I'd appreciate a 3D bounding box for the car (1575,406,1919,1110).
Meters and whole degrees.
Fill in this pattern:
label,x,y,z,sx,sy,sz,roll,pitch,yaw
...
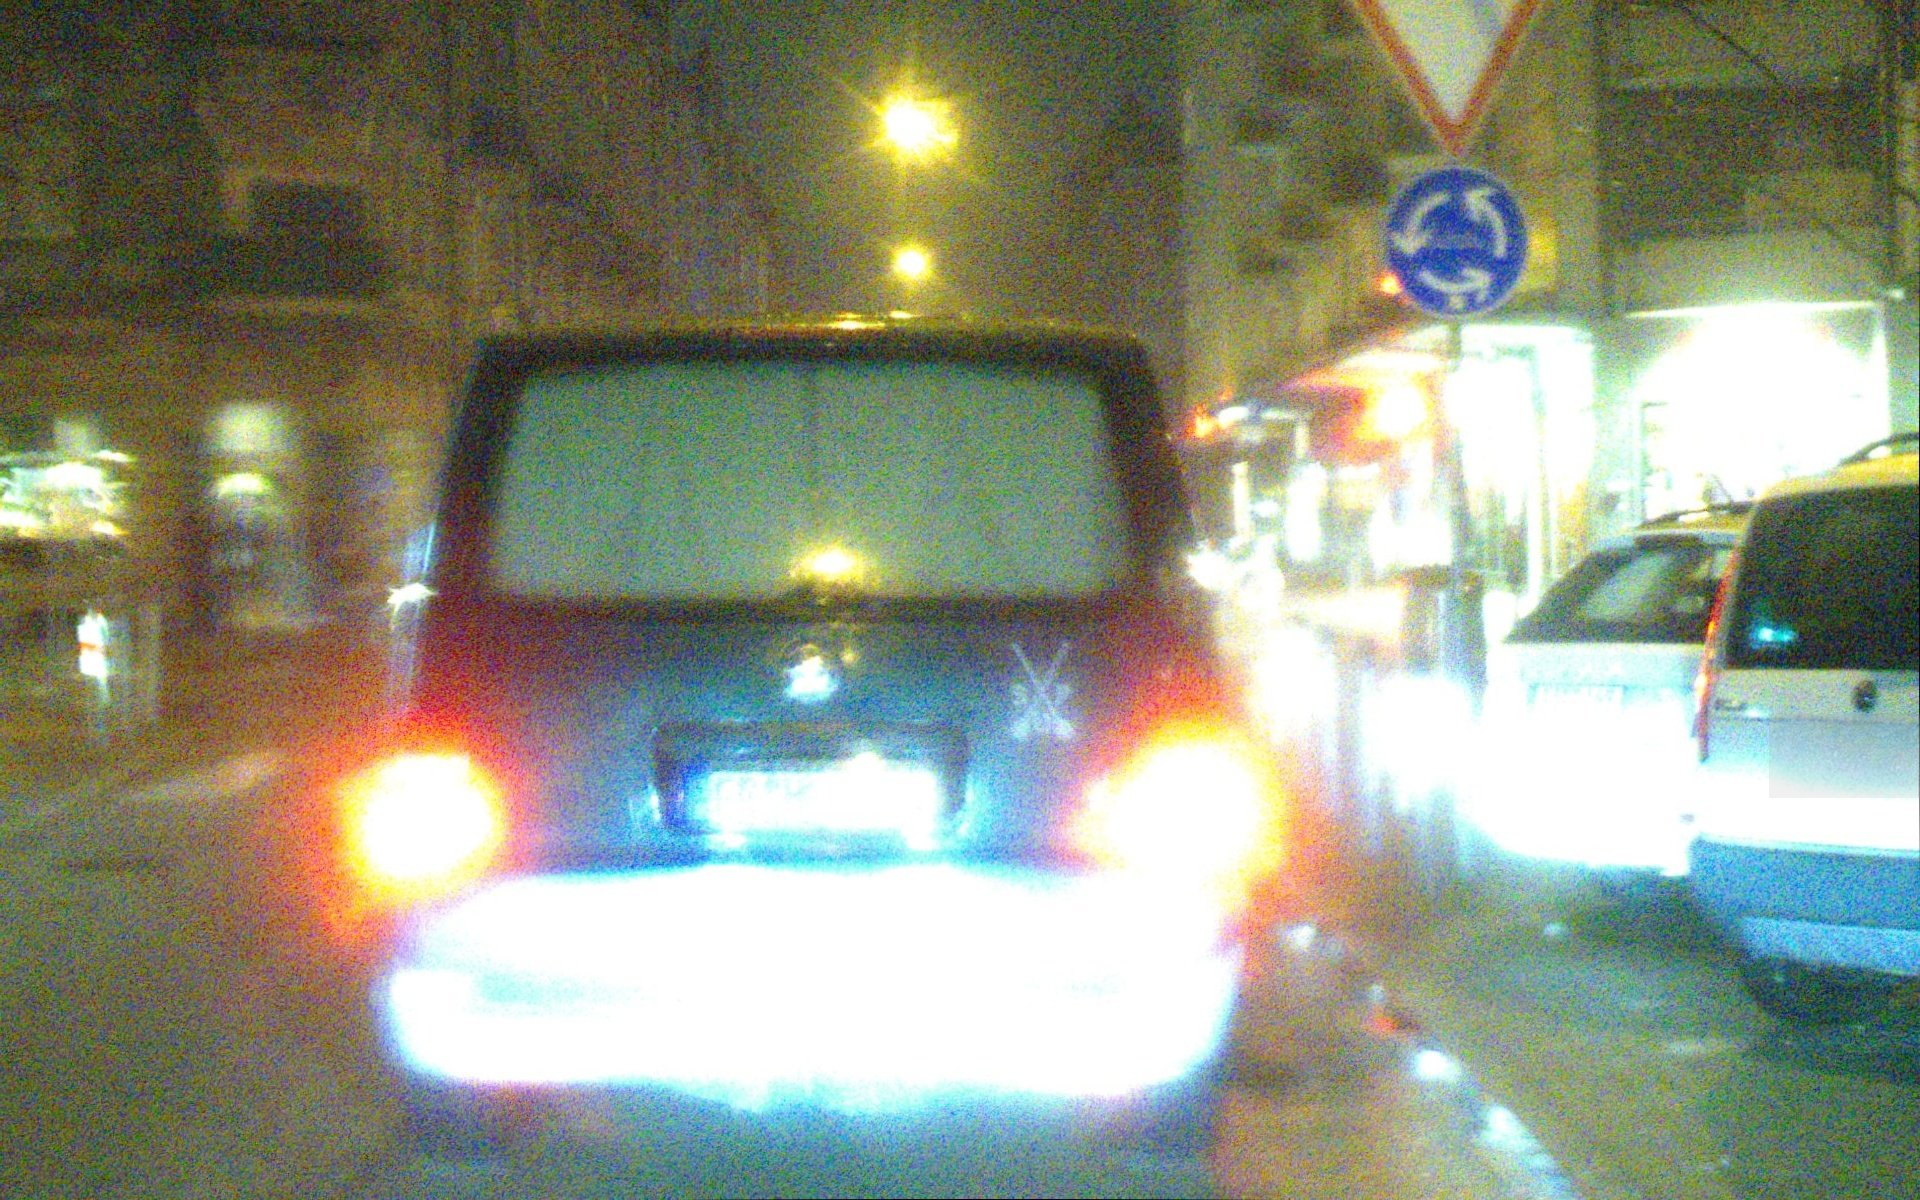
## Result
label,x,y,z,sx,sy,sz,roll,pitch,yaw
car,3.717,0.278,9.541,3.729,1.706,1.771,-4,2,-35

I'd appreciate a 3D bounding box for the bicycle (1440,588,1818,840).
label,x,y,z,sx,sy,sz,roll,pitch,yaw
bicycle,2.859,0.468,14.815,1.645,1.023,0.335,0,3,43

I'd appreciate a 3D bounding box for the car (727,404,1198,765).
label,x,y,z,sx,sy,sz,roll,pitch,yaw
car,0.168,-0.151,20.797,2.123,1.915,4.824,0,2,9

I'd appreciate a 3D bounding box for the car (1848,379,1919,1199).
label,x,y,z,sx,sy,sz,roll,pitch,yaw
car,3.818,0.316,7.076,3.782,1.706,1.748,-4,2,-35

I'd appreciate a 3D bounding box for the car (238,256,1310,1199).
label,x,y,z,sx,sy,sz,roll,pitch,yaw
car,-0.381,0.263,9.184,2.122,1.984,4.601,-1,1,0

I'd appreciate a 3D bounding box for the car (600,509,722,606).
label,x,y,z,sx,sy,sz,roll,pitch,yaw
car,-4.816,-0.722,55.754,1.586,1.458,4.024,2,2,0

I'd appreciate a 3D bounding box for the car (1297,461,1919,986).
label,x,y,z,sx,sy,sz,roll,pitch,yaw
car,3.516,0.286,12.422,4.249,1.568,1.772,-4,2,-29

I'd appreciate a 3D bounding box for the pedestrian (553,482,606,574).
label,x,y,z,sx,sy,sz,roll,pitch,yaw
pedestrian,-7.334,-1.381,66.314,0.804,1.760,1.015,1,1,6
